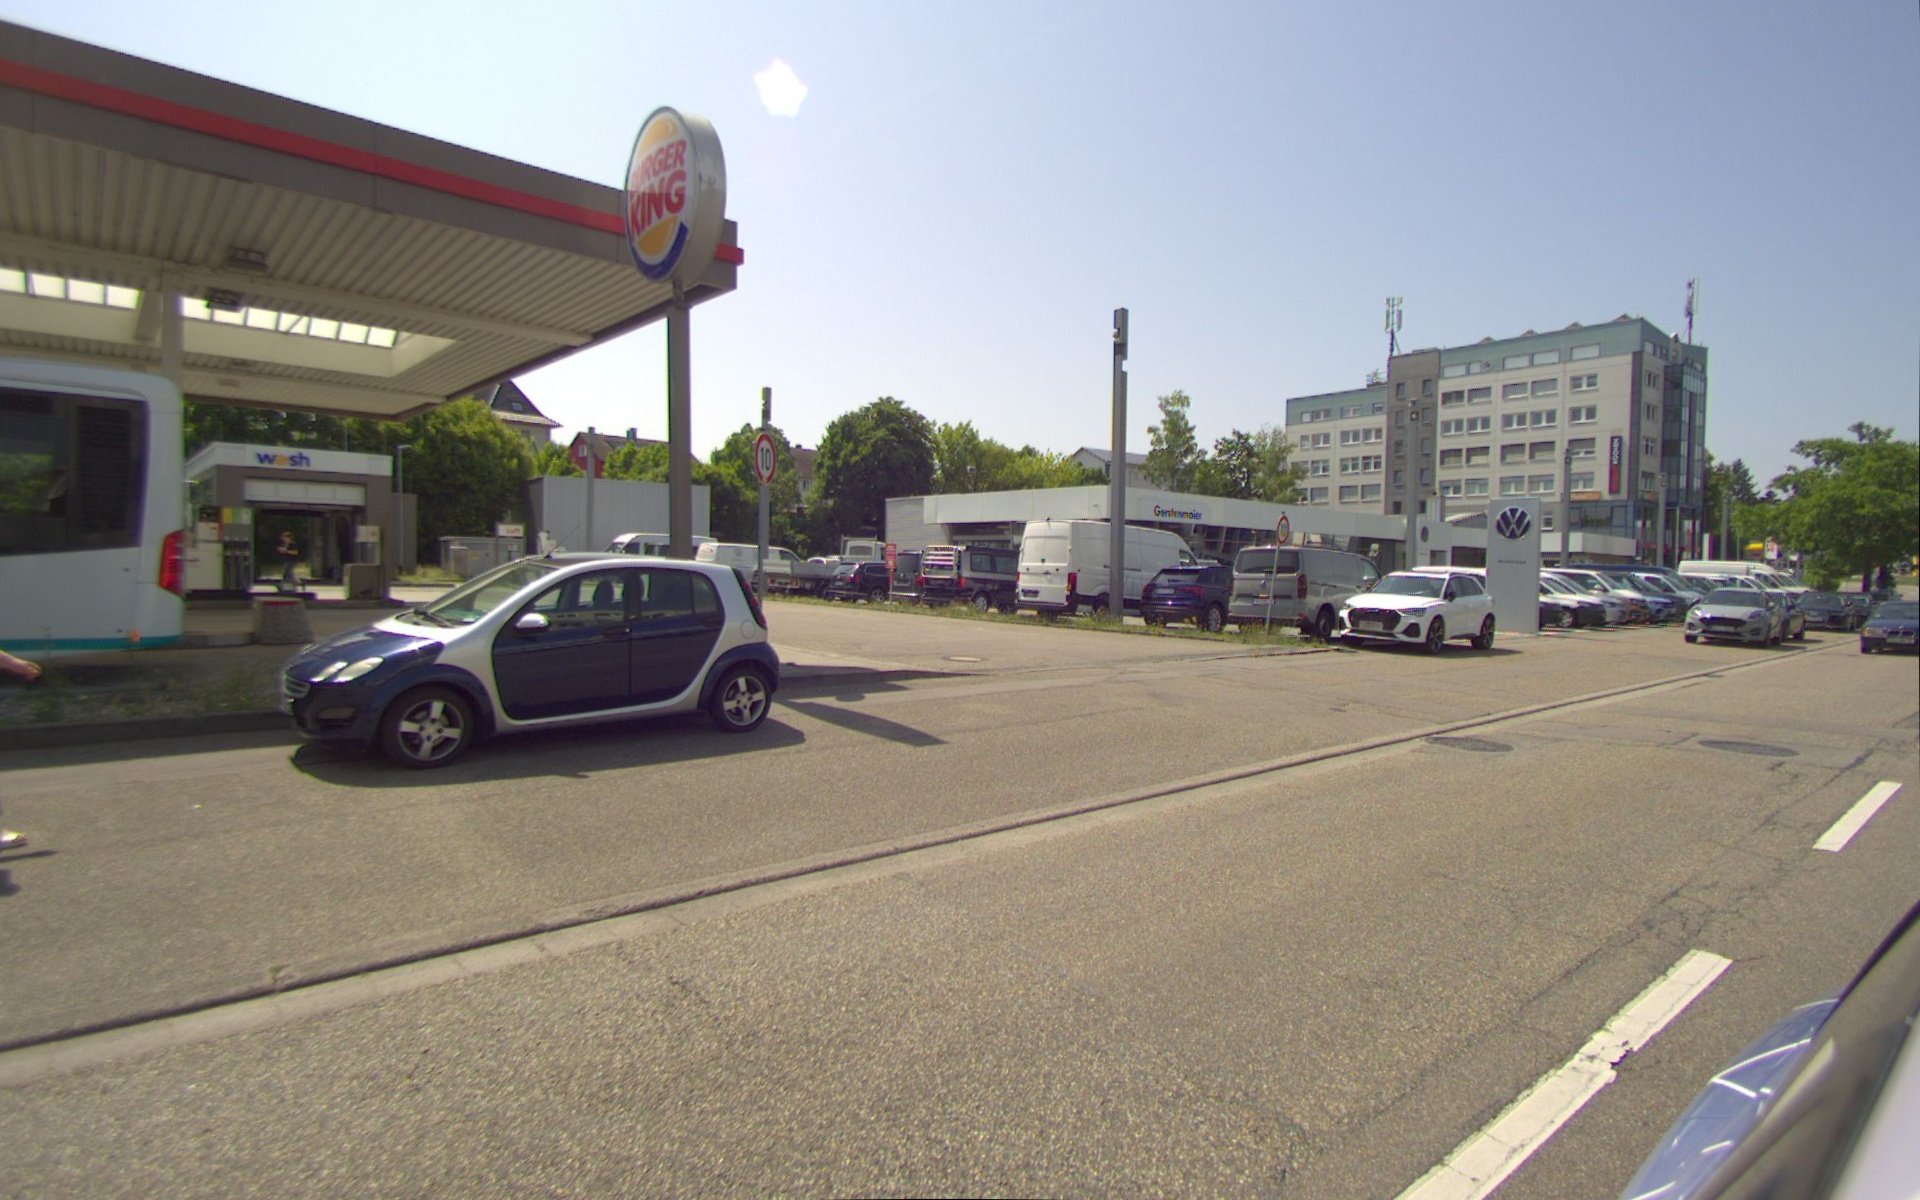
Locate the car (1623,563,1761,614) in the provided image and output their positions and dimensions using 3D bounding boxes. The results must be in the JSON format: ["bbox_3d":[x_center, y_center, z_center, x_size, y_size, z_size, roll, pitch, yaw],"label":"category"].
[{"bbox_3d":[34.603,-0.589,47.921,2.093,2.140,4.908,0,3,-42],"label":"car"}]

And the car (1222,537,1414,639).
[{"bbox_3d":[8.174,-0.299,22.838,5.074,2.048,1.996,-1,2,-43],"label":"car"}]

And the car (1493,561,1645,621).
[{"bbox_3d":[21.057,-0.363,35.115,1.850,1.802,4.157,-3,5,-42],"label":"car"}]

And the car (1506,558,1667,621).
[{"bbox_3d":[22.932,-0.431,37.186,1.927,2.038,4.646,0,3,-43],"label":"car"}]

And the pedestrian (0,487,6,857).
[{"bbox_3d":[-5.056,0.319,4.829,0.691,1.770,0.816,-1,4,-42],"label":"pedestrian"}]

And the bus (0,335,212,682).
[{"bbox_3d":[-13.021,-0.904,7.372,12.060,3.117,2.811,1,1,-39],"label":"bus"}]

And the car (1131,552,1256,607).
[{"bbox_3d":[8.386,-0.785,36.698,1.961,1.846,4.385,0,2,-28],"label":"car"}]

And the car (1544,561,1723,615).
[{"bbox_3d":[28.408,-0.557,42.939,2.215,2.038,5.917,0,2,-34],"label":"car"}]

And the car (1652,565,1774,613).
[{"bbox_3d":[38.448,-0.609,51.756,2.160,2.037,4.521,-2,6,-41],"label":"car"}]

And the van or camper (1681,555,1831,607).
[{"bbox_3d":[48.215,-1.220,61.463,2.237,2.933,6.807,0,3,-42],"label":"van or camper"}]

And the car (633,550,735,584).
[{"bbox_3d":[-12.910,-1.529,47.451,4.303,1.477,1.746,0,3,-43],"label":"car"}]

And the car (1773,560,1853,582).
[{"bbox_3d":[70.721,-2.420,83.998,4.686,1.734,1.985,0,2,23],"label":"car"}]

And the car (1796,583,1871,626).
[{"bbox_3d":[33.524,0.117,38.783,1.855,1.499,5.074,2,3,44],"label":"car"}]

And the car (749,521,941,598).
[{"bbox_3d":[-4.054,-1.419,36.961,6.951,2.587,2.260,0,3,-42],"label":"car"}]

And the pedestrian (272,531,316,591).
[{"bbox_3d":[-18.929,-1.107,28.753,0.767,1.673,0.863,0,2,45],"label":"pedestrian"}]

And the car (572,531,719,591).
[{"bbox_3d":[-15.151,-1.957,49.137,6.546,2.727,1.996,-3,3,-42],"label":"car"}]

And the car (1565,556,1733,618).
[{"bbox_3d":[30.489,-0.633,44.972,2.165,2.554,5.856,-2,2,-39],"label":"car"}]

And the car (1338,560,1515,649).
[{"bbox_3d":[9.738,0.047,20.961,4.534,1.615,1.670,0,3,-43],"label":"car"}]

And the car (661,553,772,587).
[{"bbox_3d":[-10.267,-1.223,42.821,4.303,1.344,1.745,0,0,-43],"label":"car"}]

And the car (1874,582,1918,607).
[{"bbox_3d":[58.371,-0.365,63.120,4.250,1.423,1.799,-2,2,-44],"label":"car"}]

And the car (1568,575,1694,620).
[{"bbox_3d":[25.396,-0.134,38.378,1.684,1.590,3.641,-1,1,-36],"label":"car"}]

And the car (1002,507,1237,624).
[{"bbox_3d":[4.391,-0.877,26.741,6.897,2.708,2.260,0,3,-42],"label":"car"}]

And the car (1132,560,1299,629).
[{"bbox_3d":[6.270,-0.145,24.562,4.522,1.533,1.745,0,0,-43],"label":"car"}]

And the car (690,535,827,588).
[{"bbox_3d":[-8.015,-1.486,40.684,5.268,2.019,1.746,0,1,-43],"label":"car"}]

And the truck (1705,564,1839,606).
[{"bbox_3d":[51.590,-0.974,64.397,2.327,2.365,6.260,0,3,-40],"label":"truck"}]

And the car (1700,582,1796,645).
[{"bbox_3d":[21.558,0.316,27.619,1.732,1.572,4.116,2,2,43],"label":"car"}]

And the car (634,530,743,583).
[{"bbox_3d":[-11.942,-1.897,44.708,4.303,2.191,1.746,0,3,-43],"label":"car"}]

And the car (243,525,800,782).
[{"bbox_3d":[-3.342,0.273,8.097,3.754,1.537,1.661,-1,5,-42],"label":"car"}]

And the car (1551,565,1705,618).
[{"bbox_3d":[26.778,-0.355,40.688,1.969,2.009,4.795,2,0,-41],"label":"car"}]

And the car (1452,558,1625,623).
[{"bbox_3d":[18.922,-0.340,33.254,4.559,1.911,1.827,4,2,45],"label":"car"}]

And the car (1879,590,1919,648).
[{"bbox_3d":[24.805,0.476,26.005,1.693,1.390,3.938,2,1,43],"label":"car"}]

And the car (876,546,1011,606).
[{"bbox_3d":[-0.488,-0.740,32.542,4.303,1.808,1.745,0,0,-43],"label":"car"}]

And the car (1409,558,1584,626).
[{"bbox_3d":[16.633,-0.320,31.523,1.877,1.905,4.419,-2,4,-42],"label":"car"}]

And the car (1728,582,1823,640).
[{"bbox_3d":[25.316,0.274,31.346,4.713,1.567,1.715,-2,4,-45],"label":"car"}]

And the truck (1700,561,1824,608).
[{"bbox_3d":[46.677,-0.930,58.993,2.074,2.465,5.260,0,3,-40],"label":"truck"}]

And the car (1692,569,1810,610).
[{"bbox_3d":[44.615,-0.652,57.167,2.123,2.139,4.955,-1,3,-43],"label":"car"}]

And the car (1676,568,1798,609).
[{"bbox_3d":[42.545,-0.702,55.497,2.105,1.994,4.922,-1,4,-41],"label":"car"}]

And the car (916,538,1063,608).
[{"bbox_3d":[0.984,-0.777,30.606,1.732,1.889,4.727,3,1,42],"label":"car"}]

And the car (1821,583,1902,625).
[{"bbox_3d":[38.055,0.119,42.679,5.073,1.548,1.965,-1,5,-43],"label":"car"}]

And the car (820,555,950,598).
[{"bbox_3d":[-2.513,-0.762,34.603,4.303,1.374,1.745,0,0,-43],"label":"car"}]
